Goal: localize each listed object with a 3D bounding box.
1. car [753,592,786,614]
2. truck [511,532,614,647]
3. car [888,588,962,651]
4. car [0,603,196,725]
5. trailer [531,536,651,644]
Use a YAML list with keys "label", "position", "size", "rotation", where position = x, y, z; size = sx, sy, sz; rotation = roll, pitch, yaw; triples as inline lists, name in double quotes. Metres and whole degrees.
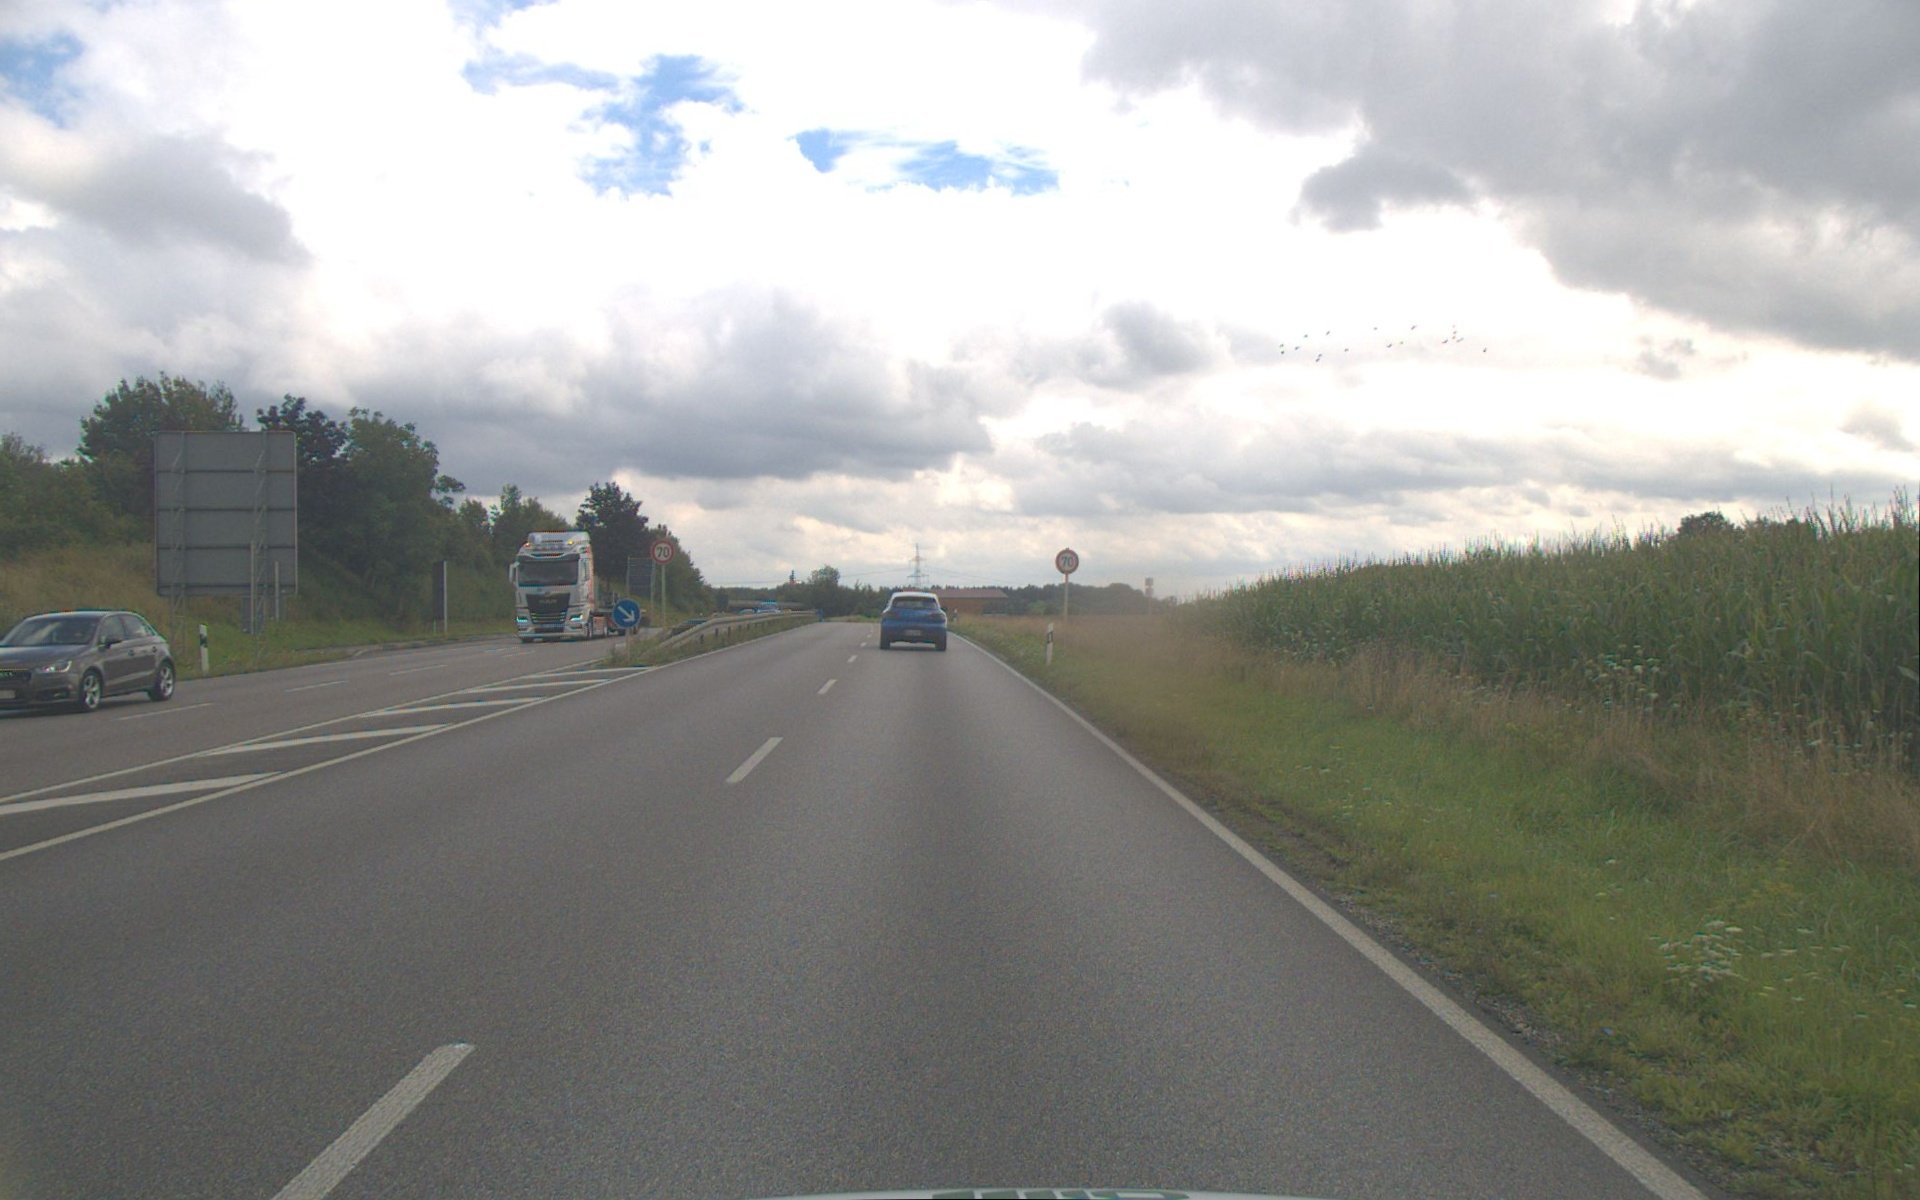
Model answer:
- label: "car"
  position: [-13.849, 0.216, 120.504]
  size: [2.044, 1.545, 4.192]
  rotation: [0, 1, -2]
- label: "truck"
  position: [-14.675, -0.393, 61.446]
  size: [2.747, 4.067, 5.284]
  rotation: [0, 1, -3]
- label: "car"
  position: [-1.073, 0.551, 47.930]
  size: [1.992, 1.689, 4.540]
  rotation: [1, 0, -3]
- label: "car"
  position: [-12.962, 0.879, 24.248]
  size: [1.698, 1.556, 4.191]
  rotation: [-2, 1, -3]
- label: "trailer"
  position: [-15.047, -0.450, 68.566]
  size: [2.720, 4.016, 12.978]
  rotation: [0, 1, -3]
